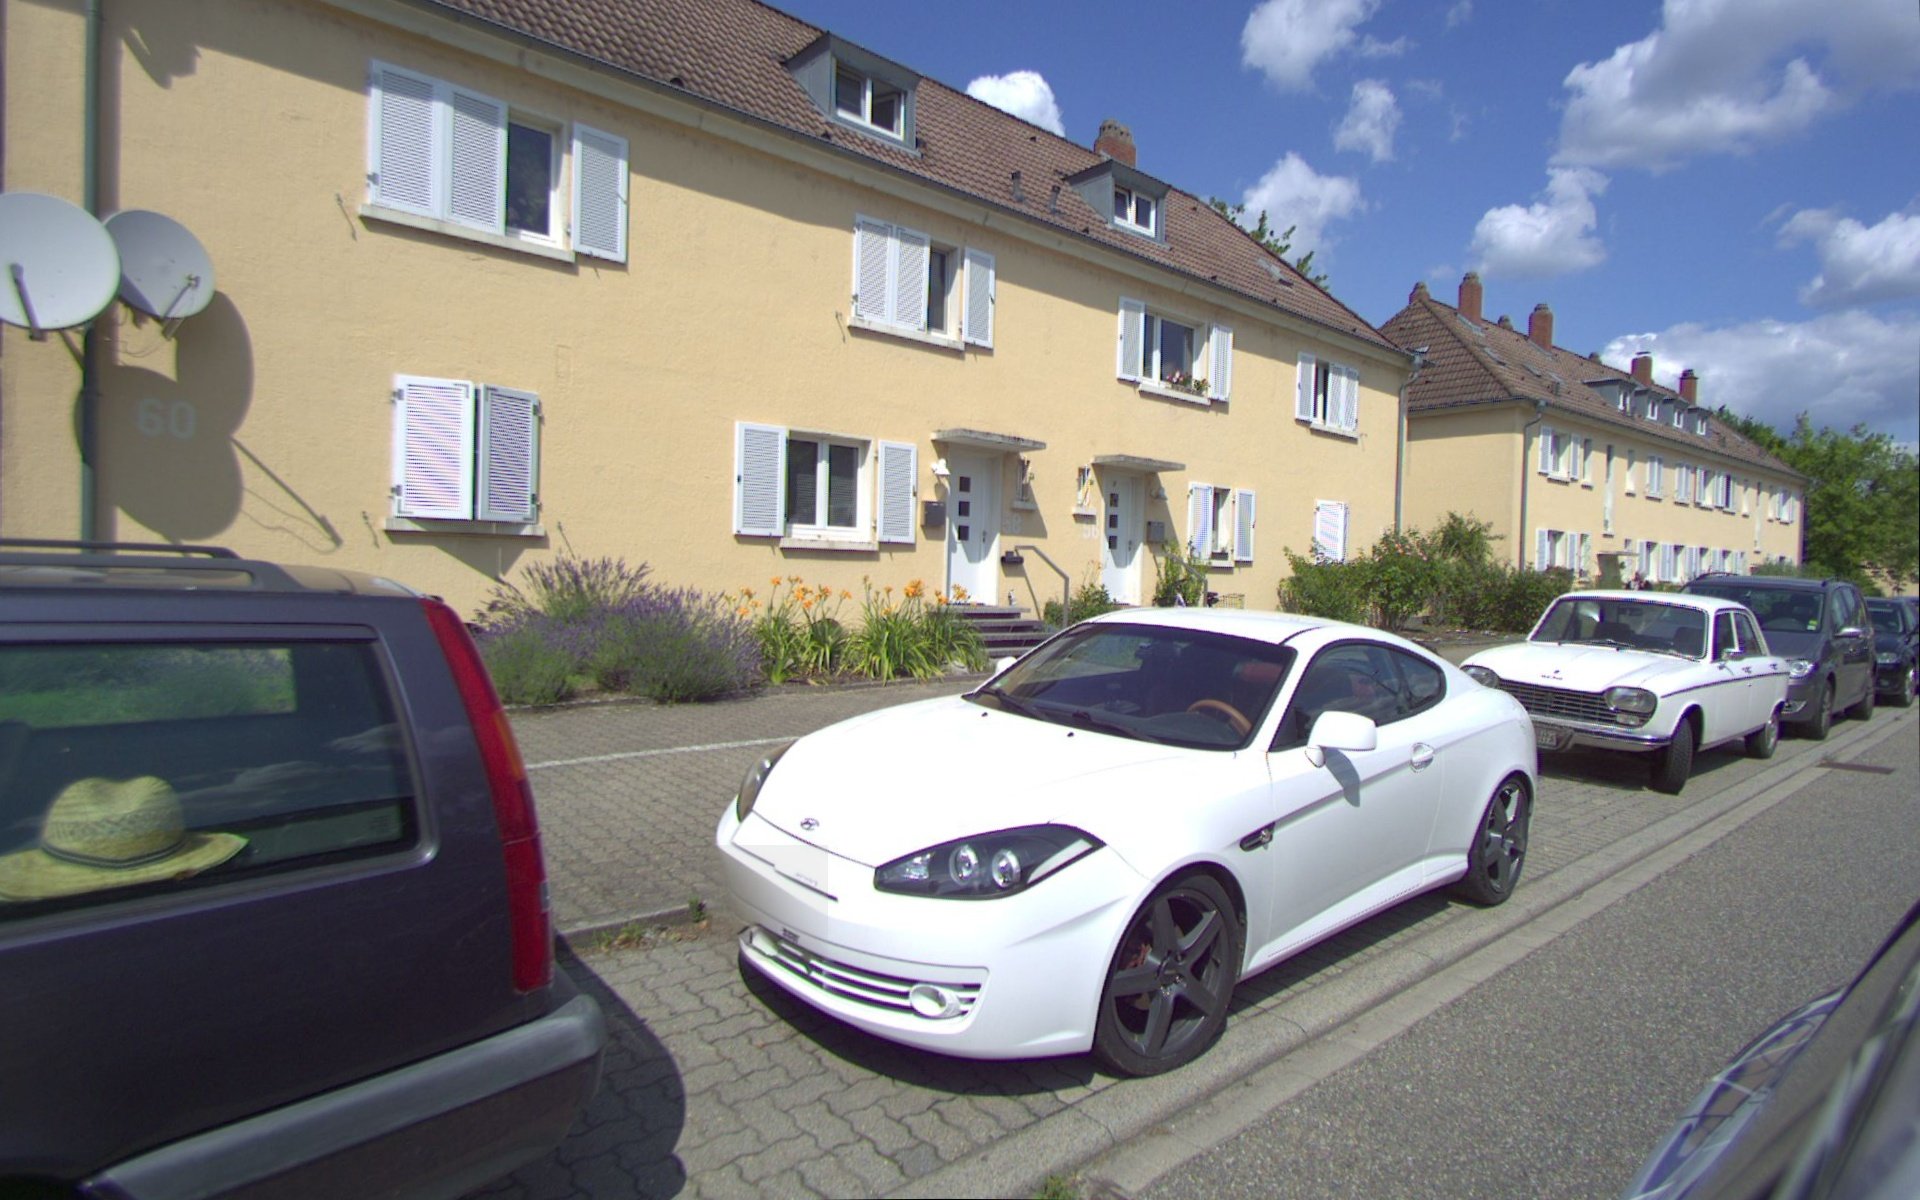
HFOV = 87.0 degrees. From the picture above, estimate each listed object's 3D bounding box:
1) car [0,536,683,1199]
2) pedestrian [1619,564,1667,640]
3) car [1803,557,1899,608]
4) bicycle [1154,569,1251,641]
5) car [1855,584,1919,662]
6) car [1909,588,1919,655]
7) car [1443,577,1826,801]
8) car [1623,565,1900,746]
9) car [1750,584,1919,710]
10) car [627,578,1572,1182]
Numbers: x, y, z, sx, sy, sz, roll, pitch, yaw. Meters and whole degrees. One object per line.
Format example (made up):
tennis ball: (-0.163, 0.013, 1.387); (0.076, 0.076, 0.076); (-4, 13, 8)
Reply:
car: (-2.892, 0.605, 1.021); (4.752, 1.419, 1.725); (0, 3, -41)
pedestrian: (15.431, 0.041, 22.863); (0.885, 1.658, 0.617); (0, 3, -40)
car: (33.549, -0.654, 38.074); (3.972, 1.768, 1.928); (1, 2, -38)
bicycle: (3.976, 0.052, 16.691); (0.285, 1.116, 1.693); (1, 1, -40)
car: (19.968, 0.453, 20.815); (3.829, 1.446, 1.702); (-1, 5, -40)
car: (23.858, 0.524, 23.743); (4.546, 1.507, 1.756); (0, 3, -40)
car: (5.918, 0.580, 8.708); (3.954, 1.435, 1.654); (0, 3, -40)
car: (9.242, 0.493, 11.546); (4.196, 1.650, 1.683); (0, 3, -41)
car: (13.177, 0.558, 14.784); (4.438, 1.454, 1.689); (-1, 4, -41)
car: (0.907, 0.619, 4.298); (4.057, 1.311, 1.724); (0, 3, -41)
